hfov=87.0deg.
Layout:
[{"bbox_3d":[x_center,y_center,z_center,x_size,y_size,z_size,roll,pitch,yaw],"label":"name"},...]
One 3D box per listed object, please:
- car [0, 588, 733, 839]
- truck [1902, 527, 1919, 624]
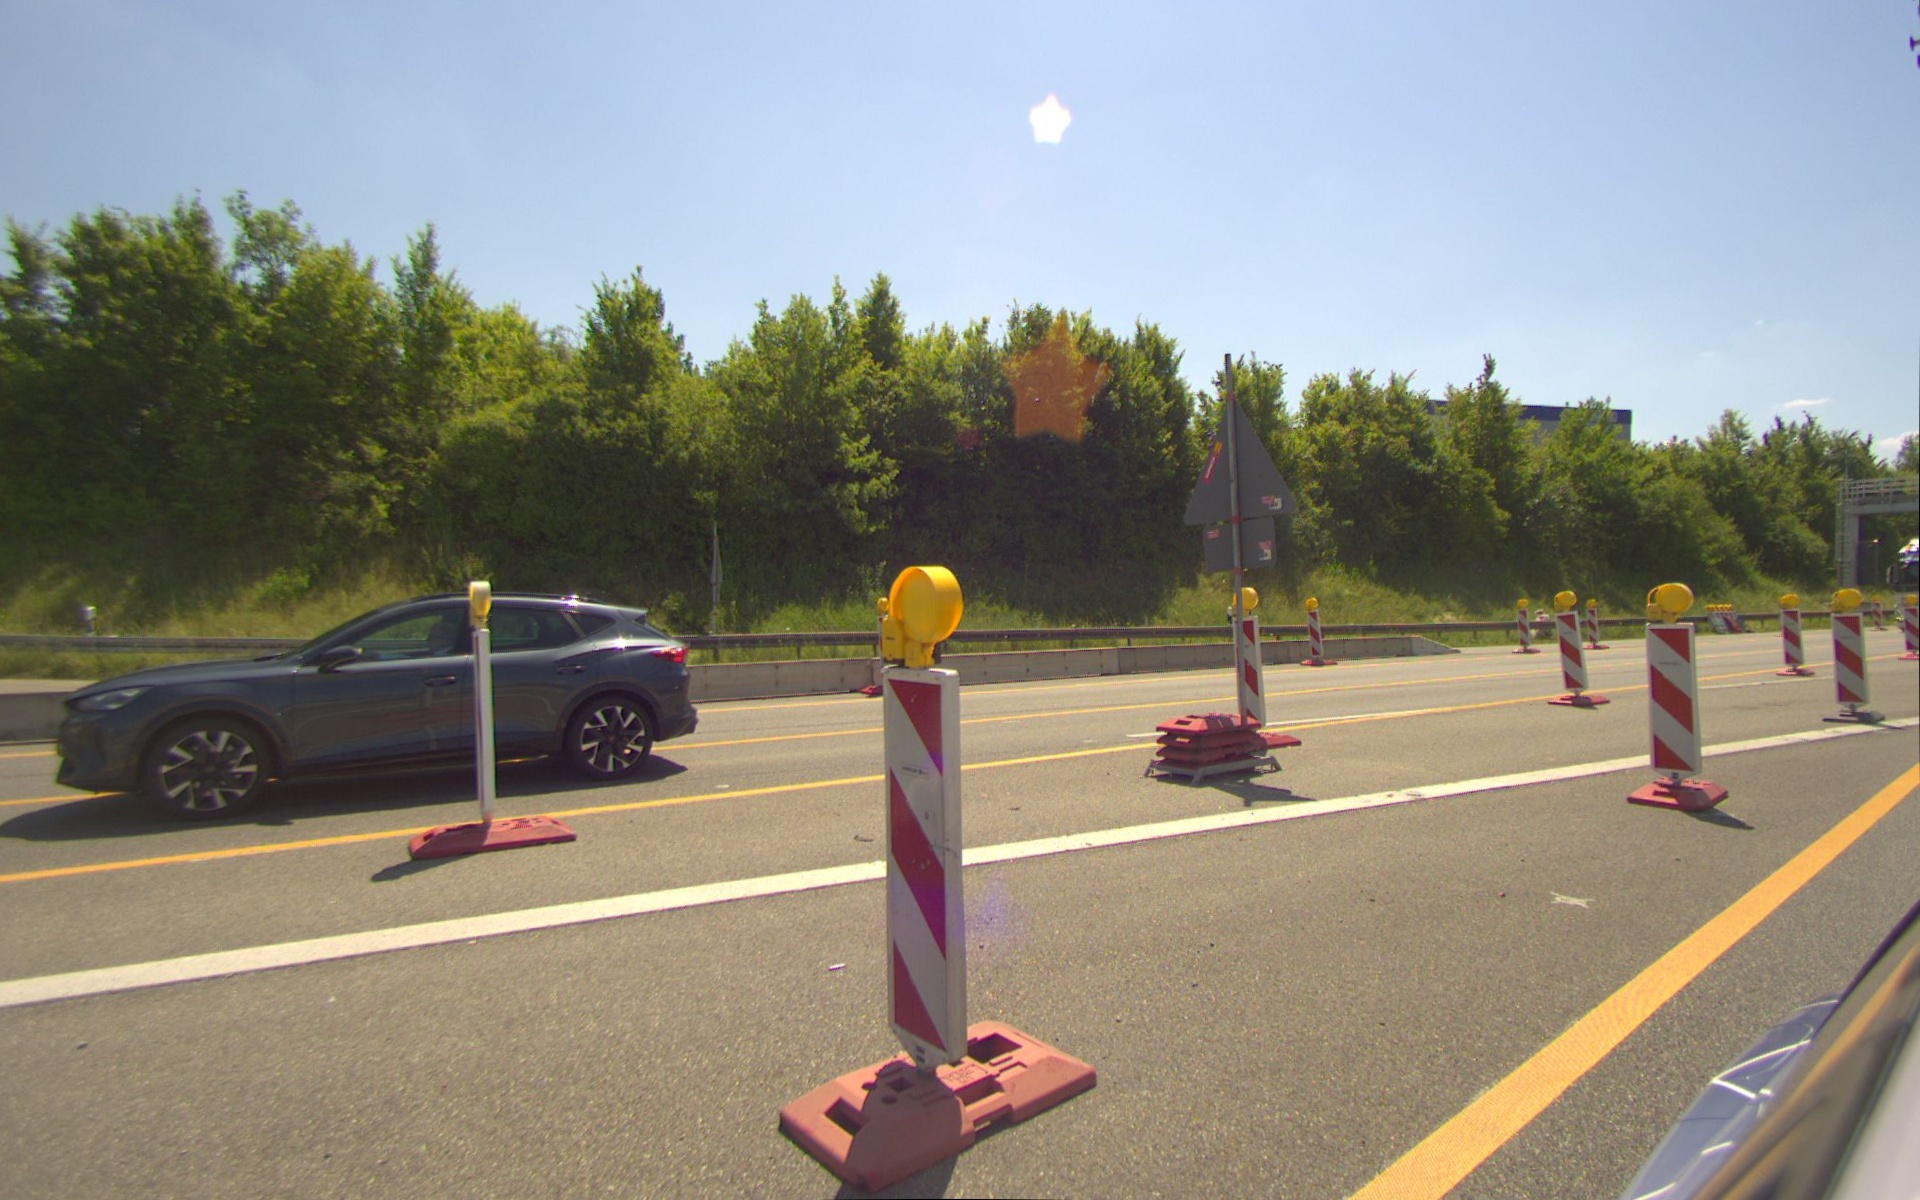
[{"bbox_3d":[-4.373,0.666,8.140,4.585,1.505,2.001,0,0,-32],"label":"car"},{"bbox_3d":[42.402,-1.038,42.577,5.487,4.001,2.537,0,-1,-30],"label":"truck"}]
